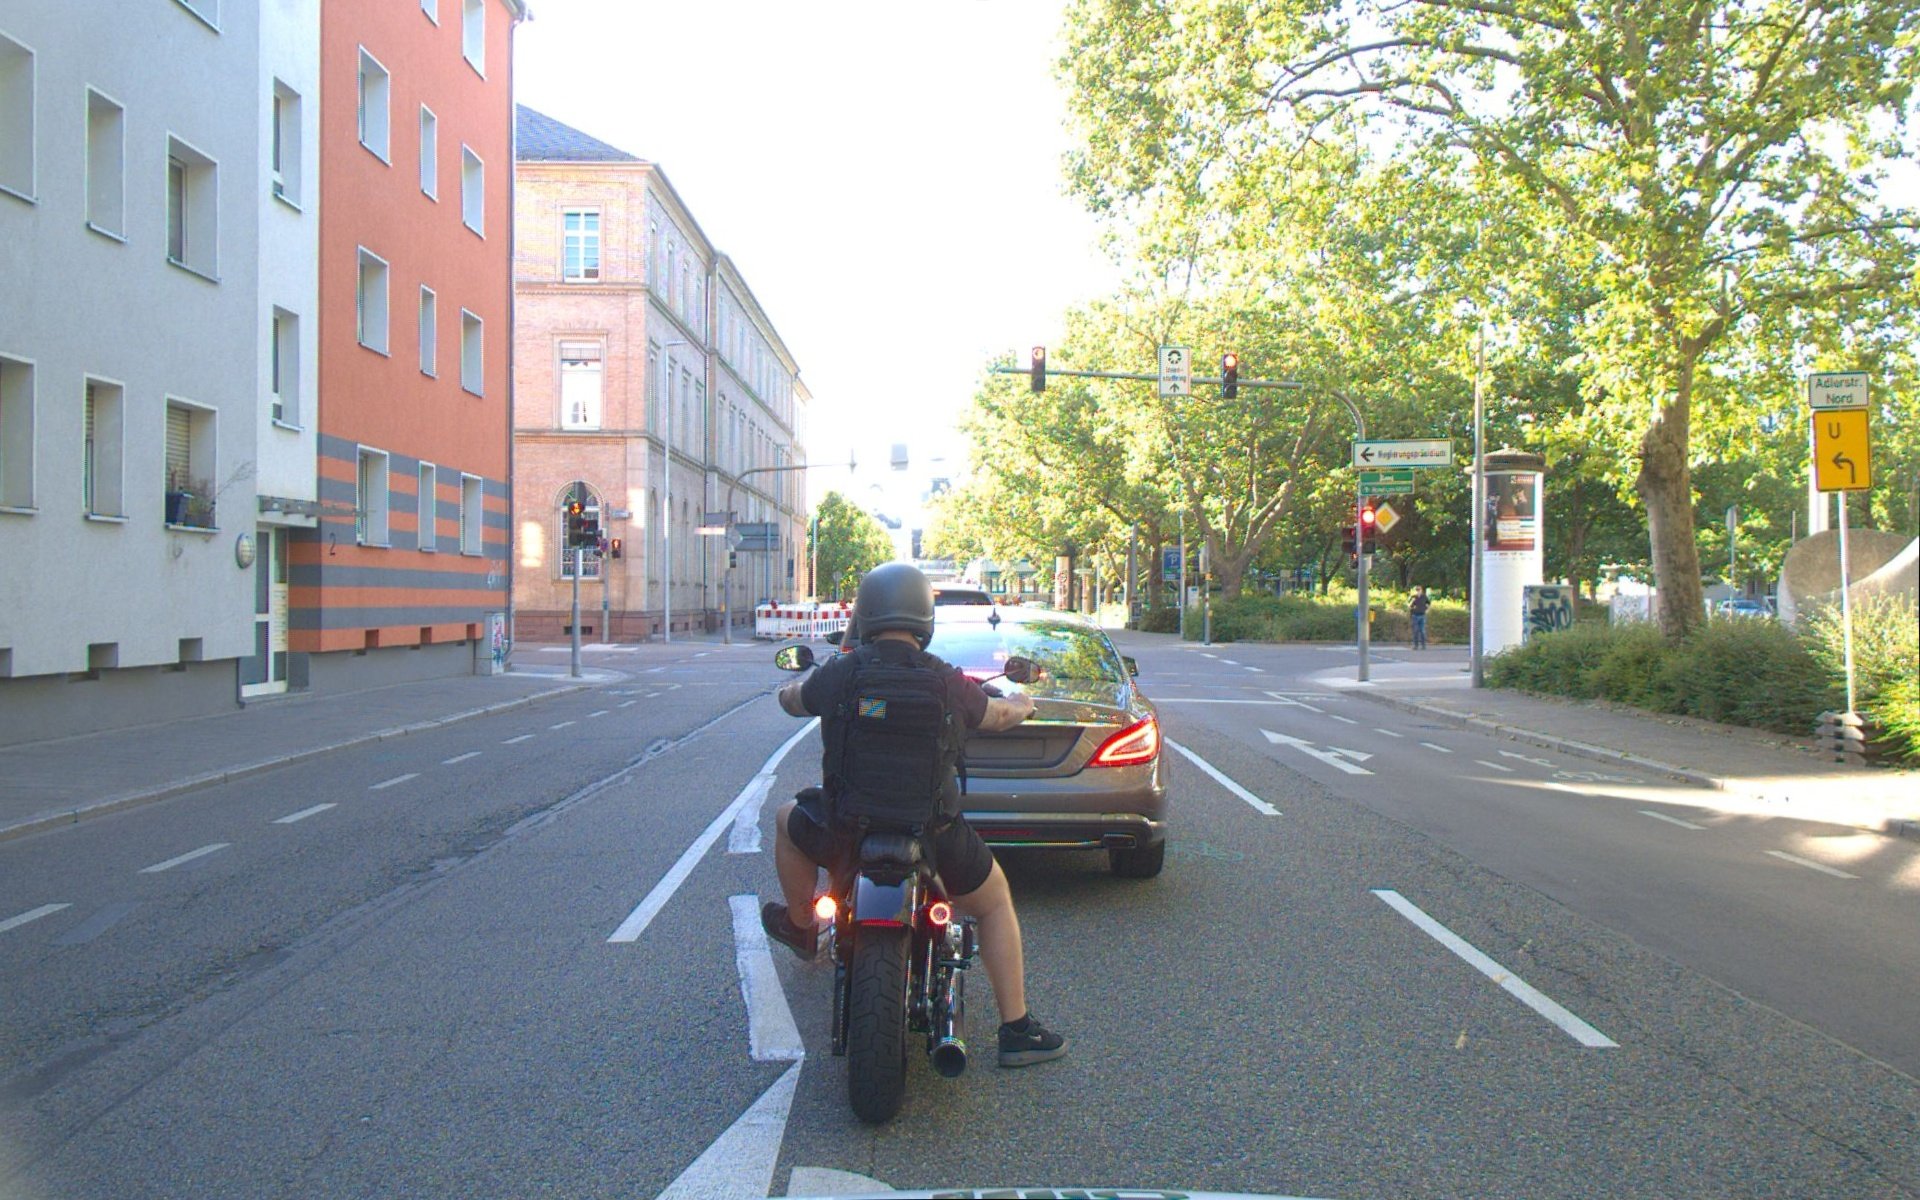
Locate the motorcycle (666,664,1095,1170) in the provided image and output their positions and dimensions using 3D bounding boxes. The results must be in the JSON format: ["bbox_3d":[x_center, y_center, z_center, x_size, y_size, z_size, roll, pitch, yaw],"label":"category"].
[{"bbox_3d":[-0.126,0.875,5.489,1.094,1.228,2.213,1,0,5],"label":"motorcycle"}]

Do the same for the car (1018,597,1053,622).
[{"bbox_3d":[4.027,0.528,88.686,1.598,1.281,3.715,1,0,-1],"label":"car"}]

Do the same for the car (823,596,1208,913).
[{"bbox_3d":[0.236,0.734,9.661,1.785,1.462,3.805,1,0,-1],"label":"car"}]

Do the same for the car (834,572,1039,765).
[{"bbox_3d":[-0.238,0.626,16.933,1.825,1.707,3.999,1,0,-1],"label":"car"}]

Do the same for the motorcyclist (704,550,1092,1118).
[{"bbox_3d":[-0.139,0.664,5.268,1.076,1.593,1.072,1,0,5],"label":"motorcyclist"}]

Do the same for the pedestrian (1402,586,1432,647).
[{"bbox_3d":[13.693,0.488,49.557,0.722,1.809,0.728,1,-1,29],"label":"pedestrian"}]
